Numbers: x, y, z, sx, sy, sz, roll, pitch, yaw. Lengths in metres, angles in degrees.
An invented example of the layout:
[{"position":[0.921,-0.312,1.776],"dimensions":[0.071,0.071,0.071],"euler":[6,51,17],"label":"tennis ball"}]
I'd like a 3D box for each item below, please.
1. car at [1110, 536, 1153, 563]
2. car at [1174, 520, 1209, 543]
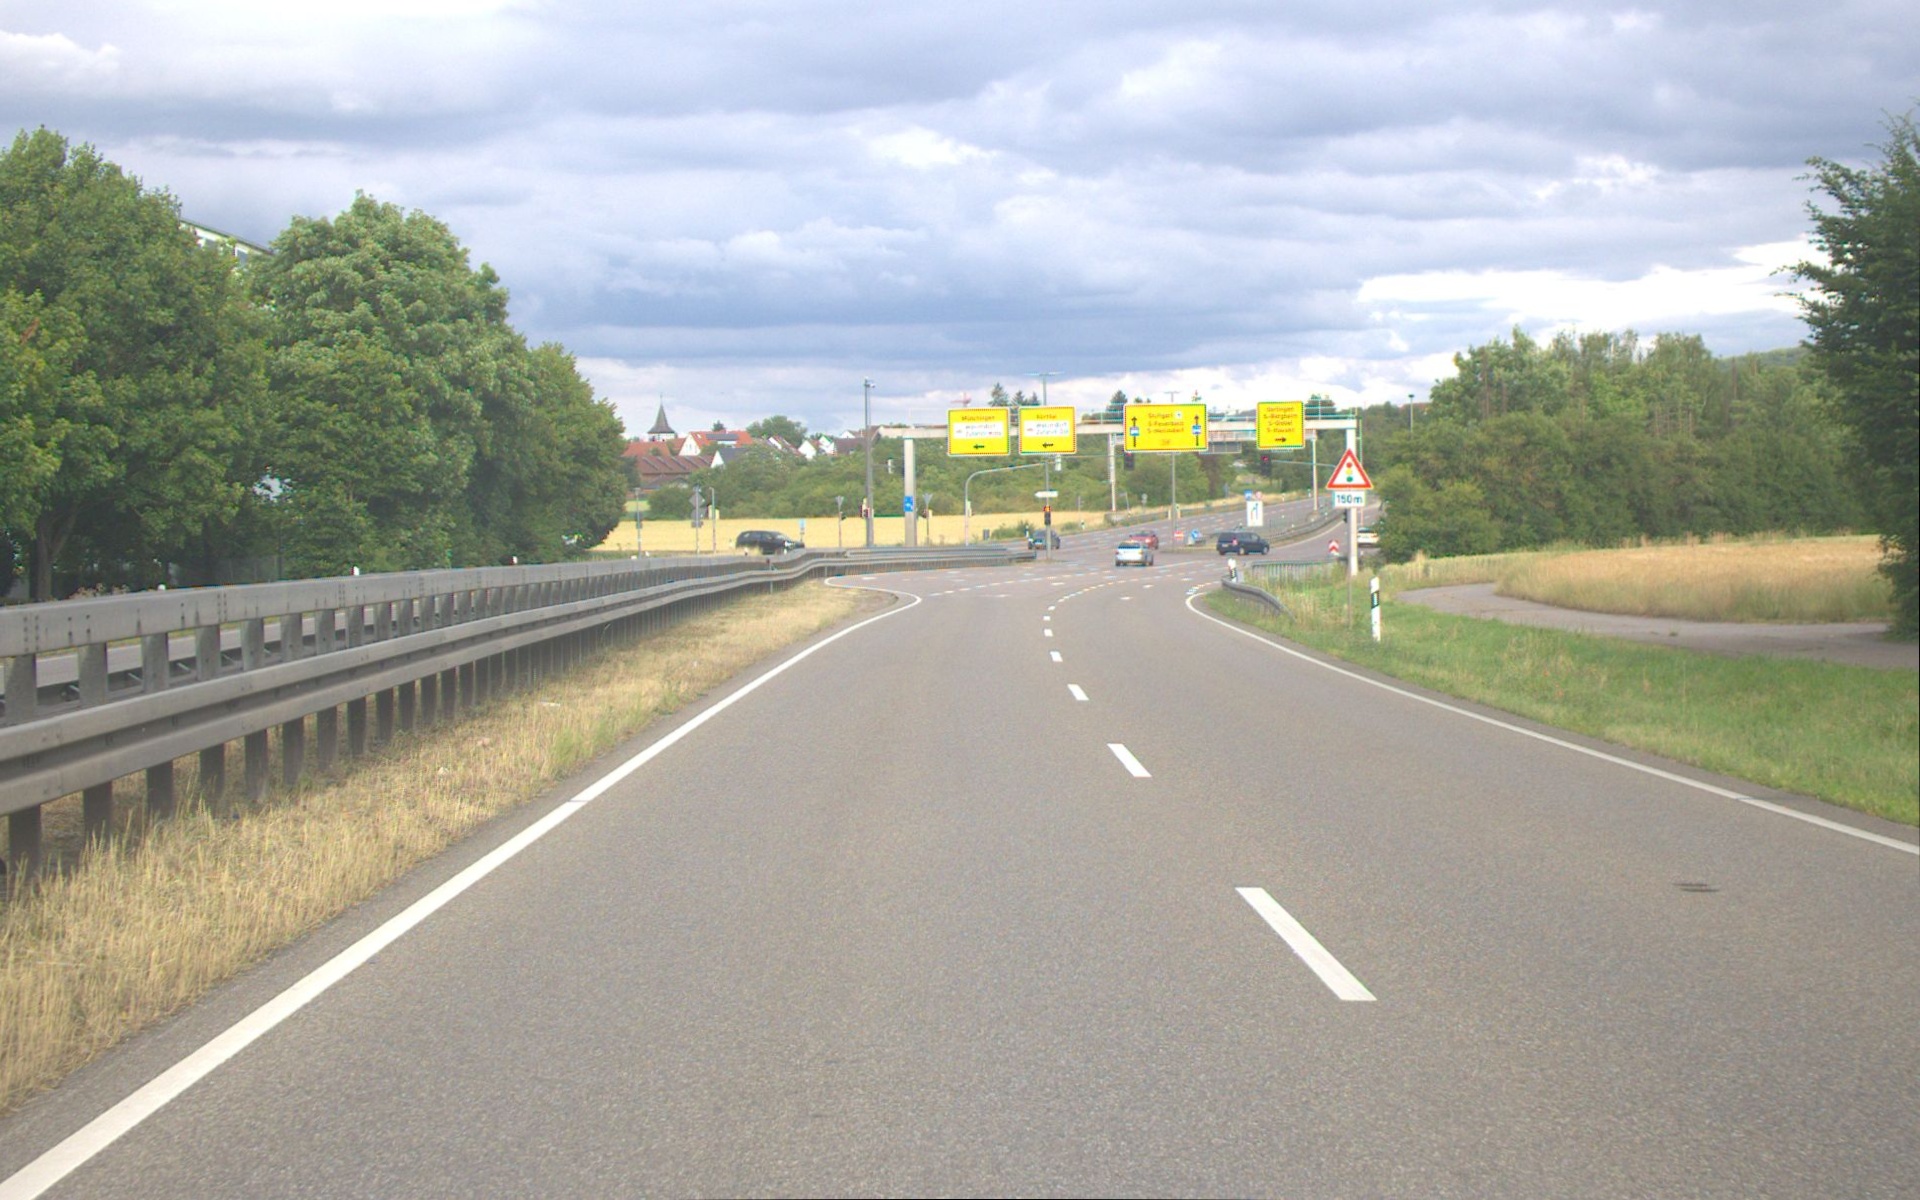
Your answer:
[{"position":[9.861,-2.906,197.253],"dimensions":[1.799,1.551,3.998],"euler":[0,1,13],"label":"car"},{"position":[16.084,-4.737,238.926],"dimensions":[1.799,1.551,3.998],"euler":[0,1,13],"label":"car"}]
